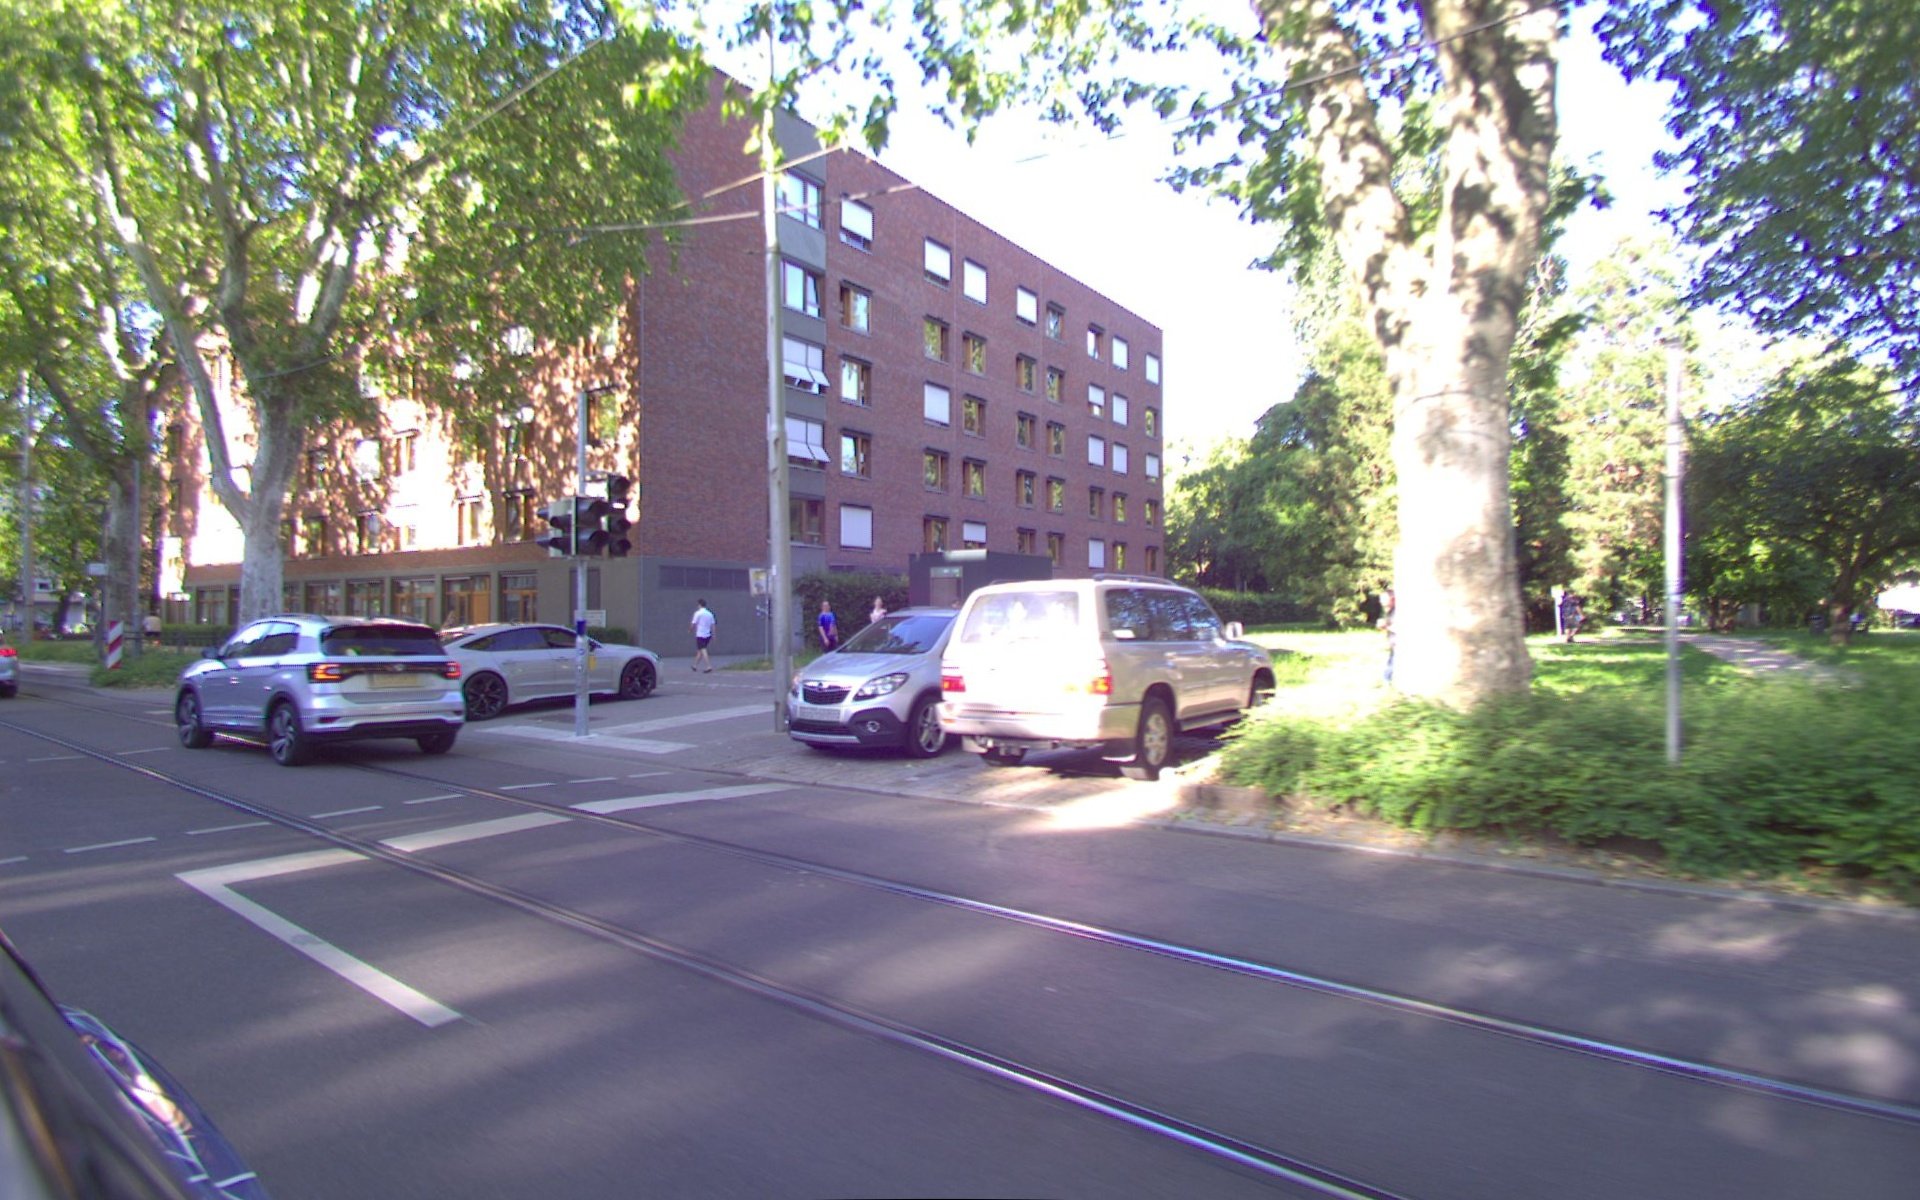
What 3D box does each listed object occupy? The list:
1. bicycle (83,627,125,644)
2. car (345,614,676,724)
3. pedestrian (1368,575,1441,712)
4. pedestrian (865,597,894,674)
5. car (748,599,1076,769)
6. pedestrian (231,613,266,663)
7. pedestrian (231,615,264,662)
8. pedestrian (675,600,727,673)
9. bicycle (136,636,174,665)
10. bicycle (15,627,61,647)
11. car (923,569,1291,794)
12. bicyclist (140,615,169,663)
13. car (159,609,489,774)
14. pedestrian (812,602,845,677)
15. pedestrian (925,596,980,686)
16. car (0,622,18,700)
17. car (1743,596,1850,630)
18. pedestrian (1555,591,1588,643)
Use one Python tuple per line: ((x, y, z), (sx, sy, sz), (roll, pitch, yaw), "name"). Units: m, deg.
((-56.125, 2.322, 66.383), (2.009, 1.102, 0.822), (-1, 0, -2), "bicycle")
((-7.237, 1.016, 16.814), (1.950, 1.471, 4.725), (-1, 0, 34), "car")
((6.125, 0.577, 13.946), (0.751, 1.823, 0.637), (-1, 0, 41), "pedestrian")
((-1.828, 0.792, 23.012), (0.585, 1.718, 0.532), (-1, 0, 4), "pedestrian")
((-0.393, 0.837, 12.237), (1.897, 1.659, 4.105), (-1, 0, 34), "car")
((-24.948, 1.315, 35.479), (0.967, 1.685, 0.731), (-1, 0, 37), "pedestrian")
((-27.569, 1.468, 39.137), (0.970, 1.757, 0.757), (-1, 0, 36), "pedestrian")
((-6.368, 0.876, 24.922), (0.912, 1.750, 0.837), (-1, 0, 31), "pedestrian")
((-31.095, 1.932, 39.099), (1.836, 1.071, 0.708), (-1, 0, 37), "bicycle")
((-58.140, 2.313, 63.824), (2.068, 1.198, 0.883), (-1, 0, -38), "bicycle")
((1.780, 0.659, 10.730), (1.935, 1.848, 4.529), (-1, 0, 37), "car")
((-31.162, 1.499, 39.151), (0.837, 1.801, 0.693), (-1, 0, 37), "bicyclist")
((-7.417, 0.930, 11.680), (4.108, 1.580, 1.799), (-1, -2, 36), "car")
((-2.963, 0.877, 22.792), (0.556, 1.671, 0.695), (-1, 0, 9), "pedestrian")
((-0.149, 0.779, 19.484), (0.777, 1.686, 0.703), (-1, 0, 35), "pedestrian")
((-20.426, 1.199, 20.111), (4.196, 1.472, 1.759), (-1, 0, 36), "car")
((42.482, 0.657, 51.467), (4.102, 1.630, 1.871), (-1, 0, 41), "car")
((20.482, 0.560, 33.890), (0.767, 1.686, 0.713), (-1, 0, -41), "pedestrian")
